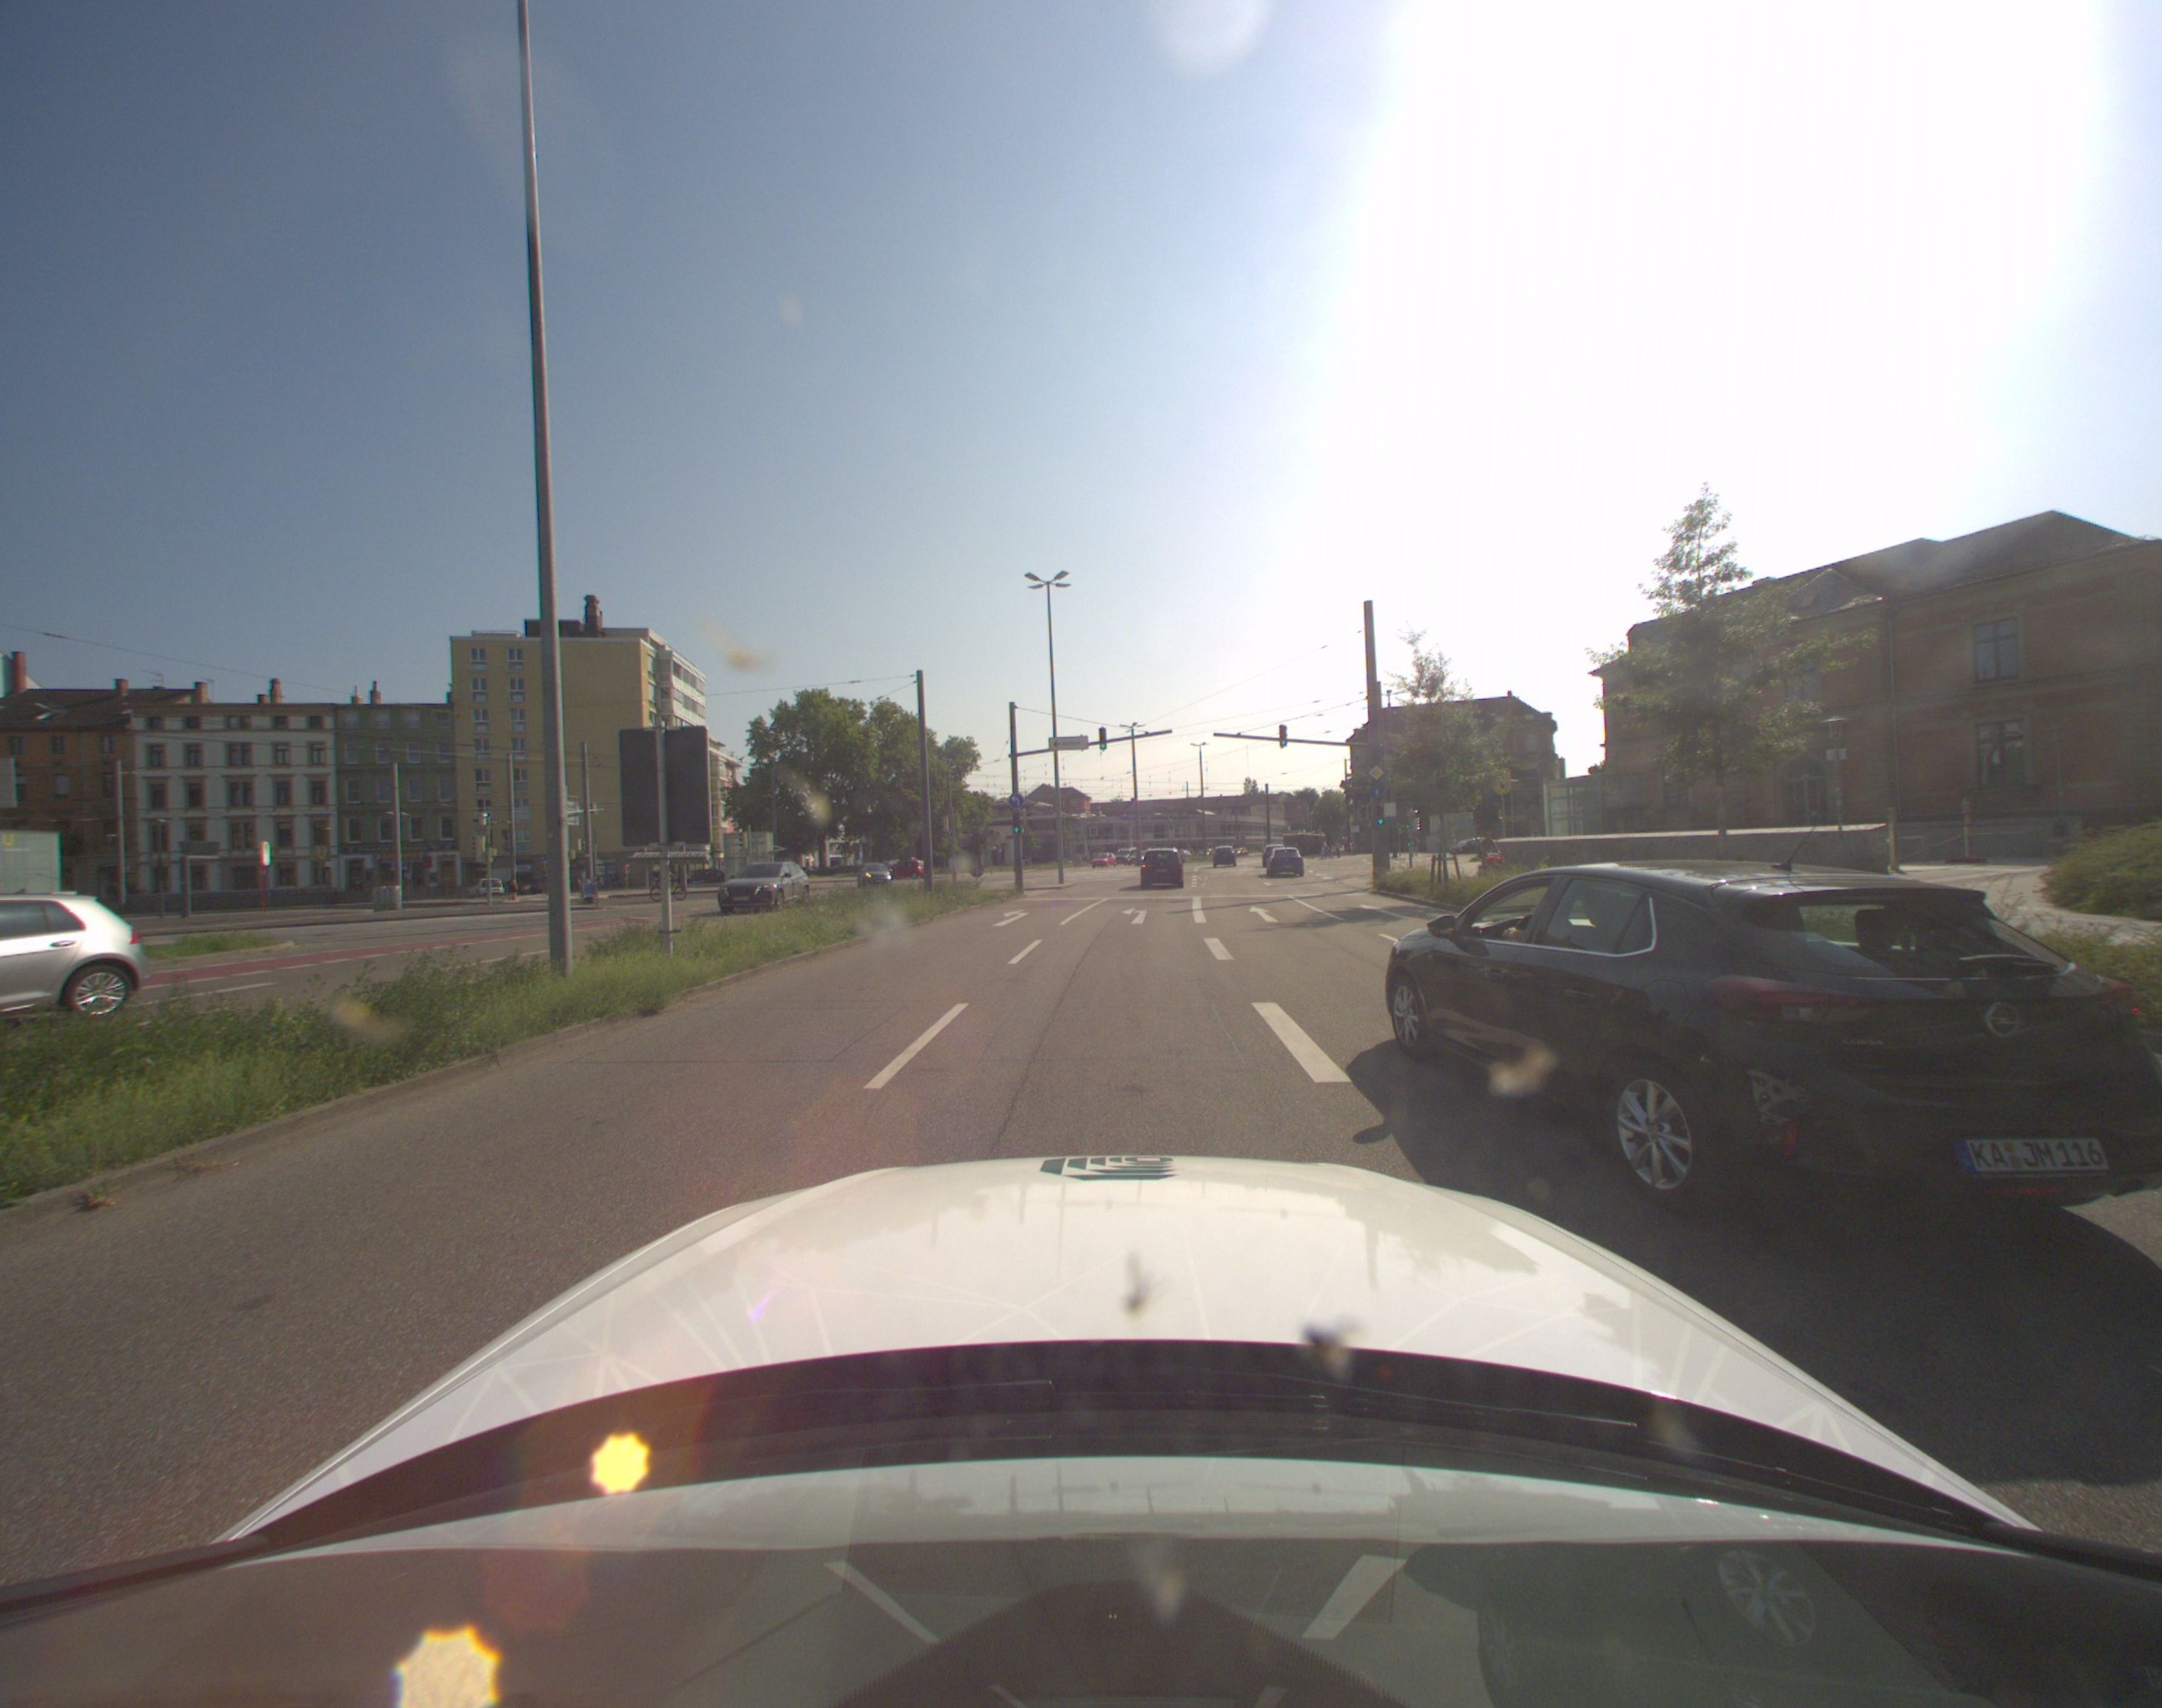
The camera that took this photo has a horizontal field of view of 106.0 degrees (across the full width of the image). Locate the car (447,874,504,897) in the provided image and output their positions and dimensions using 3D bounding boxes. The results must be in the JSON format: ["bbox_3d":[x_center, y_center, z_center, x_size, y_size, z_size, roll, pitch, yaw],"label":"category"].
[{"bbox_3d":[-47.811,2.515,64.276,4.491,1.678,2.013,-2,0,31],"label":"car"}]

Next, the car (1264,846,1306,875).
[{"bbox_3d":[11.205,0.322,44.908,1.814,1.428,4.424,-3,0,9],"label":"car"}]

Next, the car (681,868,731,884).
[{"bbox_3d":[-36.615,2.162,79.490,4.160,1.354,1.475,-2,0,-13],"label":"car"}]

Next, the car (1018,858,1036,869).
[{"bbox_3d":[-8.294,1.477,125.485,1.689,1.522,4.111,-2,0,11],"label":"car"}]

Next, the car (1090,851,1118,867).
[{"bbox_3d":[2.437,0.535,85.094,1.600,1.475,4.021,-4,-1,21],"label":"car"}]

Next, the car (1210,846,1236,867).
[{"bbox_3d":[11.210,0.144,64.111,1.813,1.535,4.426,-3,0,11],"label":"car"}]

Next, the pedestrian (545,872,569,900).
[{"bbox_3d":[-32.548,1.970,50.631,0.922,1.690,0.919,-2,0,-11],"label":"pedestrian"}]

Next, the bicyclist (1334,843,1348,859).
[{"bbox_3d":[27.904,-0.270,87.362,0.936,1.680,1.086,-2,0,-17],"label":"bicyclist"}]

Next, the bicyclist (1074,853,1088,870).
[{"bbox_3d":[0.002,0.746,85.992,0.949,1.748,1.172,-2,0,22],"label":"bicyclist"}]

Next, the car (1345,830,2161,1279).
[{"bbox_3d":[3.183,0.673,4.948,1.677,1.492,4.370,-1,0,-1],"label":"car"}]

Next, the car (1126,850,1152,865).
[{"bbox_3d":[6.213,0.328,86.831,1.600,1.475,4.021,-4,-1,21],"label":"car"}]

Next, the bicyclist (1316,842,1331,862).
[{"bbox_3d":[24.939,-0.188,83.855,0.940,2.024,1.082,-2,0,-31],"label":"bicyclist"}]

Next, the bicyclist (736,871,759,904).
[{"bbox_3d":[-17.322,1.735,42.273,0.880,1.652,0.725,-2,0,-5],"label":"bicyclist"}]

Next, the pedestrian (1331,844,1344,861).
[{"bbox_3d":[26.780,-0.168,84.923,0.932,1.797,0.850,-2,0,-35],"label":"pedestrian"}]

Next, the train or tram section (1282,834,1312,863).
[{"bbox_3d":[29.163,-0.782,109.617,2.632,3.699,10.646,-3,0,22],"label":"train or tram section"}]

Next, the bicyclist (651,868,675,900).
[{"bbox_3d":[-20.753,1.484,40.428,0.793,1.527,0.725,-2,0,-5],"label":"bicyclist"}]

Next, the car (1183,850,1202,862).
[{"bbox_3d":[15.999,0.245,116.584,1.600,1.475,4.022,-4,-1,22],"label":"car"}]

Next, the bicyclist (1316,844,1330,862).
[{"bbox_3d":[25.612,-0.087,86.092,0.936,1.800,1.086,-2,0,-17],"label":"bicyclist"}]

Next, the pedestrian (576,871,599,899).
[{"bbox_3d":[-30.840,1.940,50.856,0.922,1.690,0.919,-2,0,-11],"label":"pedestrian"}]

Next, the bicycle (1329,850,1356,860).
[{"bbox_3d":[28.101,0.090,87.428,2.625,0.964,1.086,-2,0,-18],"label":"bicycle"}]

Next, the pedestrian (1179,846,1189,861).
[{"bbox_3d":[10.601,-0.085,83.840,0.771,1.503,0.714,-2,0,20],"label":"pedestrian"}]

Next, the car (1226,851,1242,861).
[{"bbox_3d":[24.048,0.278,128.133,1.600,1.475,4.022,-4,-1,22],"label":"car"}]

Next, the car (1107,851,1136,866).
[{"bbox_3d":[4.625,0.475,92.152,1.943,1.475,4.021,-4,-1,21],"label":"car"}]

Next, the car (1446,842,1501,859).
[{"bbox_3d":[35.827,-0.291,74.334,4.391,1.397,2.009,-2,0,-22],"label":"car"}]

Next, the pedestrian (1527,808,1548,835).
[{"bbox_3d":[28.911,-2.053,51.587,0.930,1.690,0.911,-1,-1,-44],"label":"pedestrian"}]

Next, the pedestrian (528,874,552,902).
[{"bbox_3d":[-33.650,2.083,50.701,0.922,1.690,0.919,-2,0,-11],"label":"pedestrian"}]

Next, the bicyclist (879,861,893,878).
[{"bbox_3d":[-18.141,1.422,75.826,1.162,1.527,0.958,-1,0,-9],"label":"bicyclist"}]

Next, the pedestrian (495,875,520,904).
[{"bbox_3d":[-34.854,2.134,49.480,0.922,1.690,0.919,-2,0,-11],"label":"pedestrian"}]

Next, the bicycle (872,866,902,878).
[{"bbox_3d":[-18.091,1.672,75.832,2.599,1.057,0.958,-2,0,-9],"label":"bicycle"}]

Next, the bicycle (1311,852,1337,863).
[{"bbox_3d":[24.999,0.354,83.872,2.635,0.964,1.082,-2,0,-31],"label":"bicycle"}]

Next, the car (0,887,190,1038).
[{"bbox_3d":[-11.603,1.140,7.634,1.808,1.433,4.224,-2,0,0],"label":"car"}]

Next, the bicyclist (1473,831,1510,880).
[{"bbox_3d":[13.002,0.046,25.806,0.715,1.513,1.007,-2,0,8],"label":"bicyclist"}]

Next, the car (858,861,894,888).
[{"bbox_3d":[-12.064,1.186,47.837,1.893,1.452,3.654,-2,0,-17],"label":"car"}]

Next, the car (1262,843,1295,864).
[{"bbox_3d":[14.174,-0.050,58.702,1.815,1.428,4.422,-3,0,8],"label":"car"}]

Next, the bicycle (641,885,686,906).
[{"bbox_3d":[-20.712,2.054,40.430,1.810,0.932,0.725,-2,0,-6],"label":"bicycle"}]

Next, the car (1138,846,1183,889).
[{"bbox_3d":[3.483,0.550,36.048,1.817,1.714,4.418,-1,0,4],"label":"car"}]

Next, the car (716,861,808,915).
[{"bbox_3d":[-10.733,1.068,27.713,1.691,1.617,4.453,-2,0,-6],"label":"car"}]

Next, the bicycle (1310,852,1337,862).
[{"bbox_3d":[25.642,0.333,86.098,2.625,0.964,1.086,-2,0,-18],"label":"bicycle"}]

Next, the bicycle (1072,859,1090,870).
[{"bbox_3d":[-0.034,1.099,85.878,0.949,1.057,2.622,-2,0,22],"label":"bicycle"}]

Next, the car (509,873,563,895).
[{"bbox_3d":[-43.169,2.381,64.492,4.491,1.678,2.013,-2,0,35],"label":"car"}]

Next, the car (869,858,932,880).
[{"bbox_3d":[-13.978,1.172,63.241,4.362,1.535,1.840,-3,0,18],"label":"car"}]

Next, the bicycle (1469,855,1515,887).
[{"bbox_3d":[13.033,0.523,25.870,0.715,0.959,1.926,-2,0,8],"label":"bicycle"}]

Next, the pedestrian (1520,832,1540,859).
[{"bbox_3d":[29.079,-0.542,52.793,0.911,1.690,0.842,-2,-1,43],"label":"pedestrian"}]
